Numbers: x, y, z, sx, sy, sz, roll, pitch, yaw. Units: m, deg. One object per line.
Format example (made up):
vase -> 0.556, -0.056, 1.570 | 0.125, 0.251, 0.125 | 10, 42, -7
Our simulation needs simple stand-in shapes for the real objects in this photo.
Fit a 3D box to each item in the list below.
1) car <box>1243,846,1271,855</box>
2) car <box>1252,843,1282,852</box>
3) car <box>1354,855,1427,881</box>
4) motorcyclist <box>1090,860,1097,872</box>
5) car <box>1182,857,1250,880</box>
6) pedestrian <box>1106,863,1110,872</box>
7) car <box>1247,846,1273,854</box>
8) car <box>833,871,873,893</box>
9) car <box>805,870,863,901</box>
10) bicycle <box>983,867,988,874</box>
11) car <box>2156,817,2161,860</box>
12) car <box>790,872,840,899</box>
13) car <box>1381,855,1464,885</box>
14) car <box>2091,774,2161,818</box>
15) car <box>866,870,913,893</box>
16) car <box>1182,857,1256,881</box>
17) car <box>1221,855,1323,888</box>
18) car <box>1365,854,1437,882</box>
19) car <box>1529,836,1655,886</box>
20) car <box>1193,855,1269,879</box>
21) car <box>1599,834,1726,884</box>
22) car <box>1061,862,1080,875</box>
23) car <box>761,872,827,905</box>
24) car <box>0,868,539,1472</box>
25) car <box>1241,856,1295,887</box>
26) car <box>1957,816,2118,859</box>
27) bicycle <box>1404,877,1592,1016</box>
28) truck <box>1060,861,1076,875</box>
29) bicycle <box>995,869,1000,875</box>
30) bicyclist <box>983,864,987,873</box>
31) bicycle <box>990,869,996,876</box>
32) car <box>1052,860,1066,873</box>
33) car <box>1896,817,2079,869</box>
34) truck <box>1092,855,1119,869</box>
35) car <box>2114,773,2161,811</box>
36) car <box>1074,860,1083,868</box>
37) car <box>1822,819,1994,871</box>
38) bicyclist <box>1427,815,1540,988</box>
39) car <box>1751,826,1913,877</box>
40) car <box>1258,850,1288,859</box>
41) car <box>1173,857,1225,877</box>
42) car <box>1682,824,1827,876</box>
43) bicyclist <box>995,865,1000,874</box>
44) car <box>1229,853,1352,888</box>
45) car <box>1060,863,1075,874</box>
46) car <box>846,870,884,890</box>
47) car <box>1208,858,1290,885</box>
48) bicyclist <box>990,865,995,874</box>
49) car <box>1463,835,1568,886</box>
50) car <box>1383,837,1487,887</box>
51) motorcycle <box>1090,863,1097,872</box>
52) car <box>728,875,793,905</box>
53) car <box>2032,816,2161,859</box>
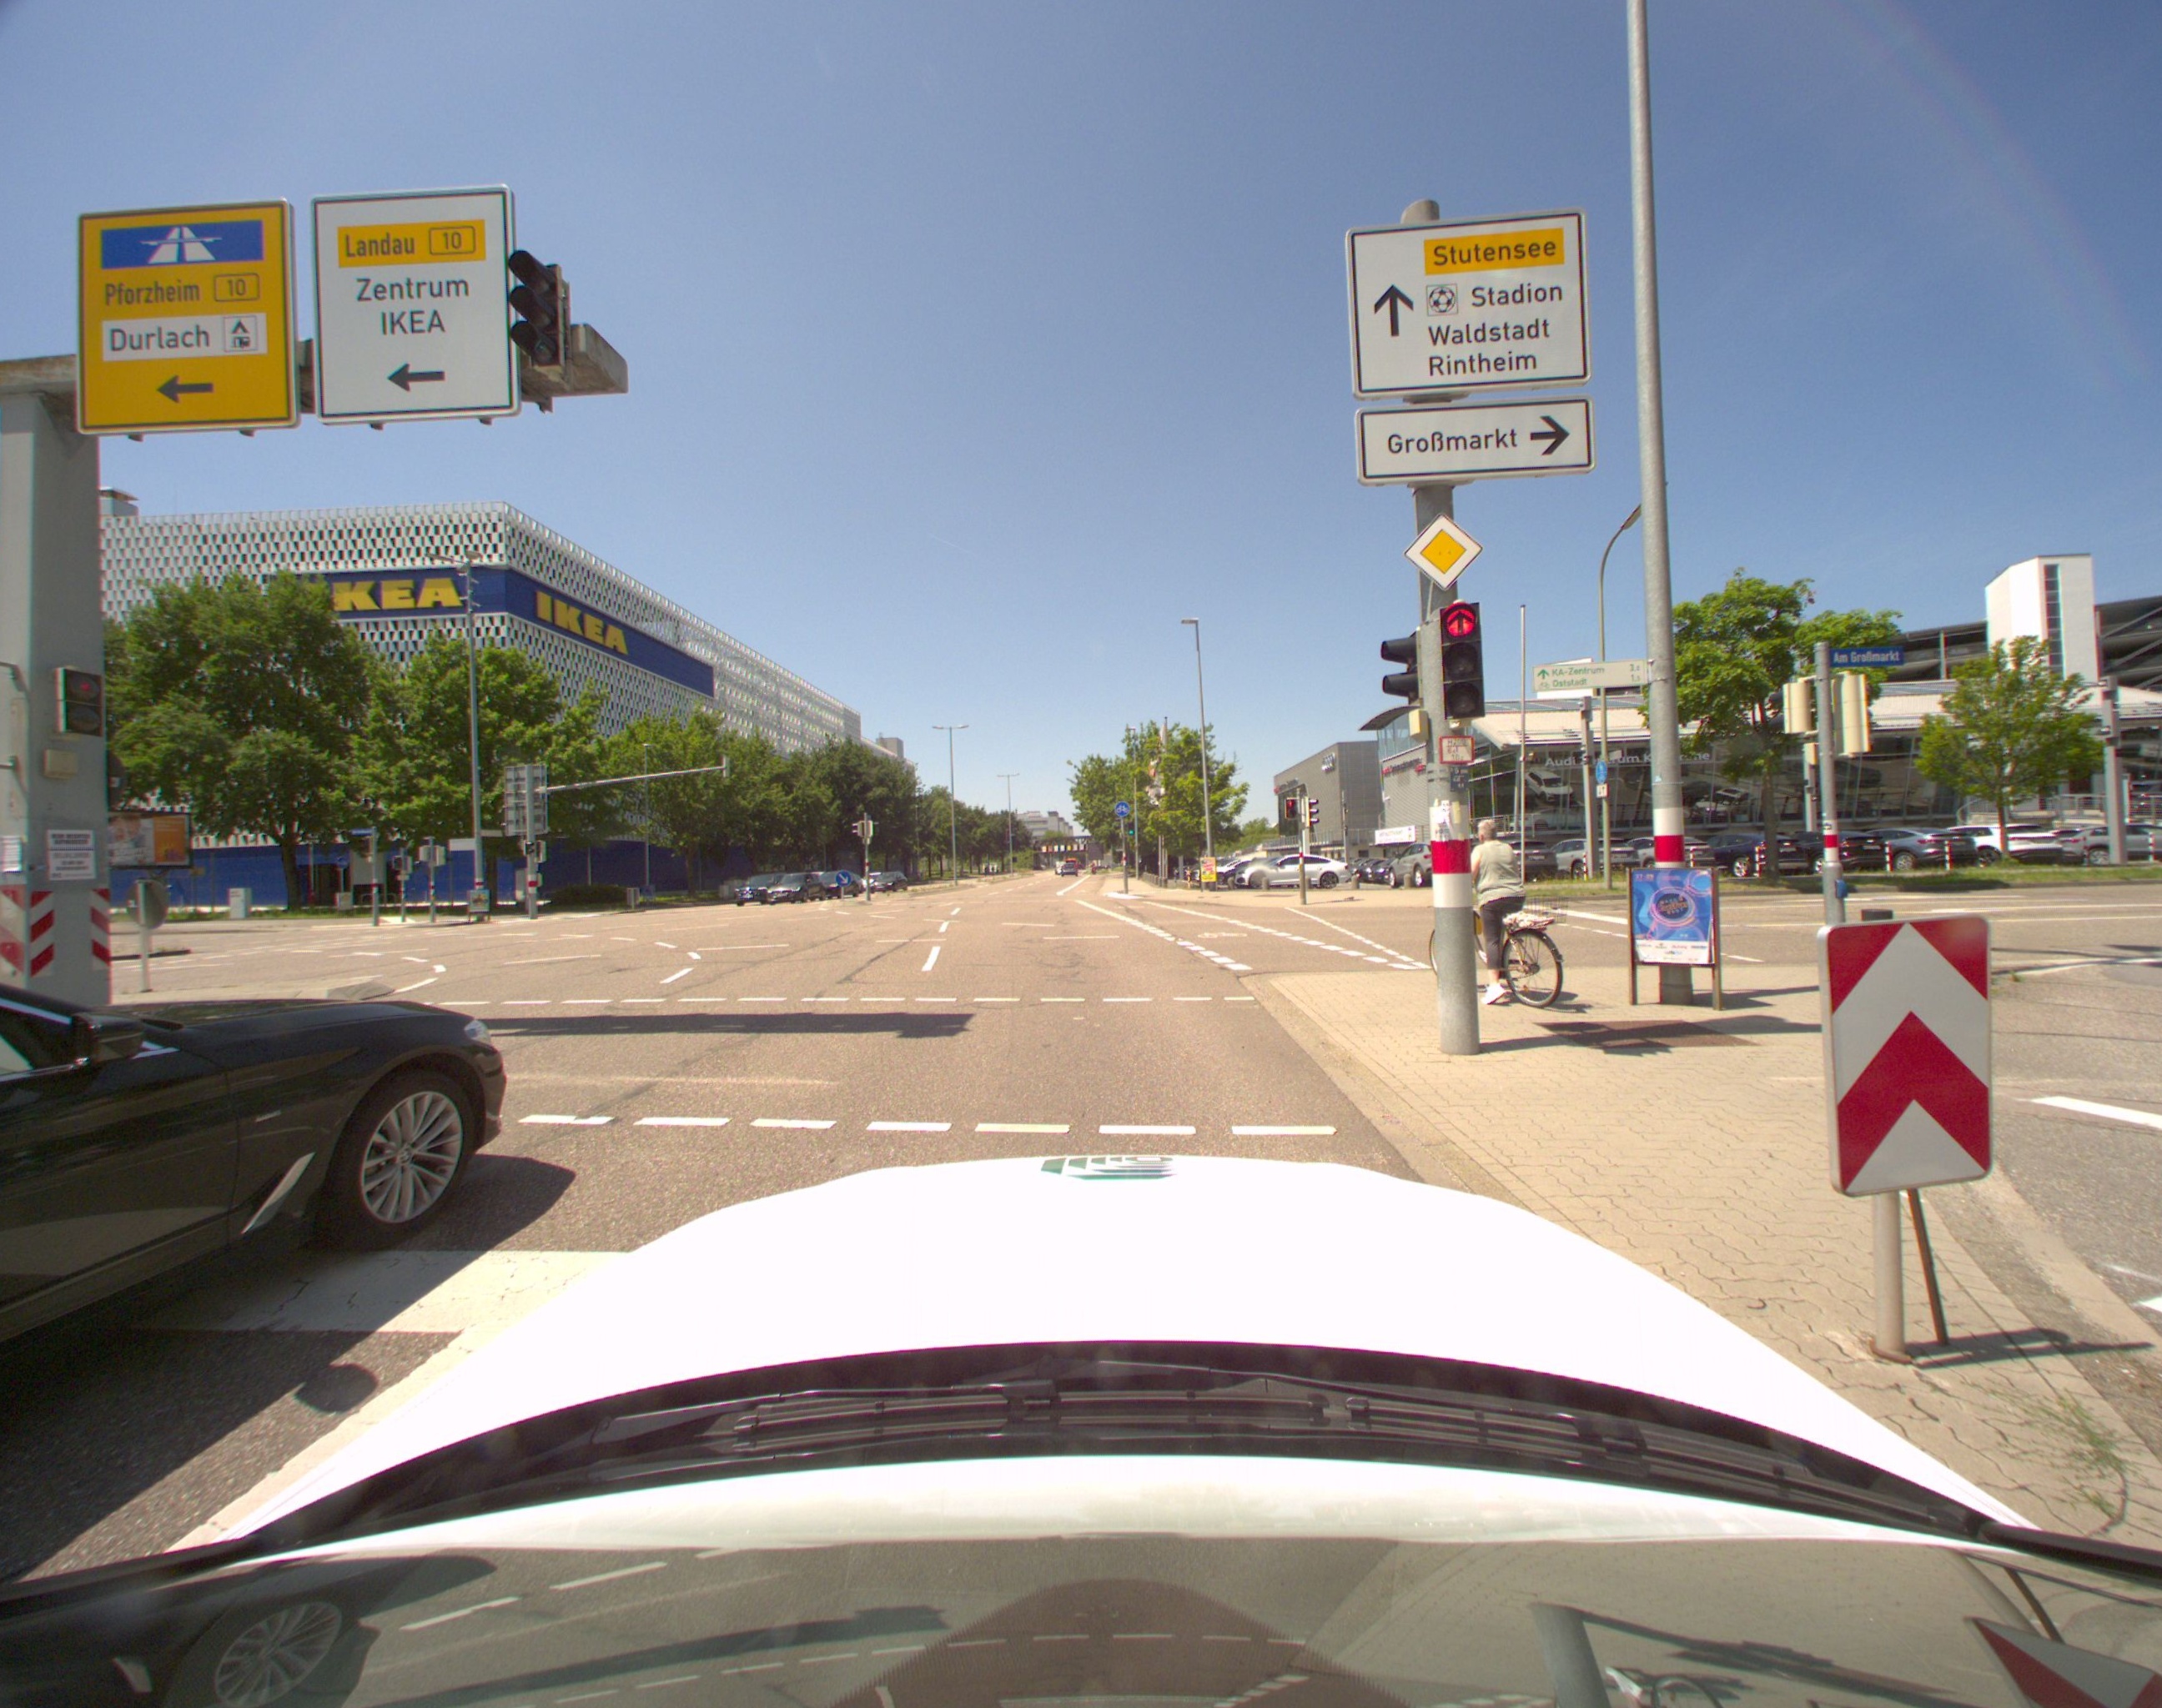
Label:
car -> 27.784, -0.516, 128.876 | 3.977, 1.312, 1.795 | 0, -1, -3
car -> 27.429, -0.884, 120.095 | 3.930, 1.211, 1.715 | -1, -1, -3
car -> 19.292, 0.853, 50.920 | 3.967, 1.573, 1.634 | 0, -1, 1
motorcyclist -> 1.629, 1.512, 106.145 | 0.719, 1.529, 0.868 | 0, -1, -8
car -> 8.605, 0.917, 52.162 | 4.085, 1.405, 1.869 | 0, -1, 1
pedestrian -> 4.681, 2.343, 141.036 | 0.621, 1.374, 0.564 | -2, -1, 0
car -> 27.413, -0.605, 124.635 | 3.515, 1.239, 1.675 | 0, -1, -3
car -> -16.500, 1.996, 59.098 | 1.643, 1.486, 3.916 | -3, -1, 2
car -> -13.726, 1.720, 45.499 | 1.720, 1.505, 4.245 | -4, -1, 2
bicycle -> -17.072, 2.897, 145.054 | 0.635, 1.134, 1.970 | -2, -1, 0
car -> 39.560, -0.642, 26.875 | 4.558, 1.471, 1.861 | -3, 0, 26
car -> -16.673, 1.935, 51.188 | 1.720, 1.544, 3.916 | -3, -1, 2
car -> 19.049, 0.875, 45.514 | 3.970, 1.622, 1.657 | 0, -1, 1
car -> 45.729, -2.483, 33.971 | 4.552, 1.707, 1.916 | -2, -1, 4
car -> -13.298, 1.879, 56.783 | 1.718, 1.446, 4.725 | -4, -1, 4
car -> 8.296, 0.890, 49.325 | 4.210, 1.390, 1.869 | 0, -1, 1
car -> 8.304, 0.746, 35.649 | 4.081, 1.390, 1.869 | 0, -1, 1
car -> 19.054, 0.830, 48.594 | 3.634, 1.580, 1.643 | 0, -1, 1
car -> 17.883, 0.255, 28.759 | 1.840, 1.654, 3.994 | 0, -1, -2
car -> 8.502, 0.737, 46.395 | 4.084, 1.349, 1.869 | 0, -1, 1
car -> 20.214, 0.138, 28.517 | 1.632, 1.616, 3.815 | -1, 1, -2
car -> -1.119, 1.586, 89.814 | 1.894, 1.376, 4.232 | -2, -1, 1
car -> -13.781, 1.643, 39.268 | 1.637, 1.389, 3.717 | -4, -1, 2
car -> -3.534, 0.795, 1.615 | 1.791, 1.440, 4.557 | -2, 0, 1
car -> 9.042, 0.822, 39.710 | 1.855, 1.420, 4.667 | 0, -1, 4
car -> 39.845, -0.677, 34.072 | 3.947, 1.571, 1.862 | -3, -1, 31
bicycle -> 3.968, 0.821, 7.953 | 0.628, 1.133, 1.889 | -1, 0, -9
truck -> -2.324, 2.488, 146.690 | 2.449, 2.410, 7.136 | 0, 0, 2
bicycle -> -16.191, 3.475, 158.534 | 0.627, 1.159, 2.118 | -4, -1, 1
bicyclist -> -17.102, 2.607, 145.005 | 0.635, 1.582, 0.884 | -2, -1, 0
bicycle -> -15.989, 3.338, 147.681 | 0.737, 1.125, 2.434 | -2, -1, 0
car -> -3.468, 1.949, 128.937 | 1.986, 2.014, 4.000 | 0, -1, 1
car -> 31.197, -0.325, 28.218 | 1.840, 1.654, 3.994 | 0, -1, -2
truck -> 5.180, 1.672, 170.912 | 2.591, 2.850, 5.647 | -1, -1, 45
car -> 53.714, -3.126, 39.467 | 1.905, 1.722, 4.142 | -2, 0, -5
car -> -0.605, 2.602, 218.697 | 1.984, 2.013, 4.005 | -3, -1, 5
car -> 28.495, -0.258, 28.259 | 1.840, 1.654, 3.994 | 0, -1, -2
bicyclist -> 3.944, 0.443, 8.026 | 0.628, 1.606, 0.823 | 0, -1, -9
car -> 25.770, -0.051, 28.155 | 1.840, 1.654, 3.994 | 0, -1, -2
car -> 27.163, 0.088, 115.207 | 3.716, 1.130, 1.682 | 0, -1, -3
car -> 8.716, 0.985, 60.223 | 3.668, 1.453, 1.834 | 0, -1, 1
car -> 23.098, -0.107, 28.137 | 1.624, 1.654, 3.907 | -1, -1, -2
bicyclist -> -16.227, 2.979, 158.469 | 0.631, 1.629, 1.045 | -4, -1, 1
car -> 8.459, 0.653, 33.186 | 4.572, 1.390, 1.871 | 0, -1, 3
car -> -1.838, 2.000, 114.223 | 1.917, 1.420, 4.000 | -2, -1, 1
car -> -17.079, 2.039, 64.586 | 1.737, 1.486, 4.001 | -3, -1, 2
car -> 8.944, 0.926, 43.622 | 4.081, 1.364, 1.875 | 0, -1, 1
bicyclist -> -16.010, 2.789, 147.541 | 0.742, 1.686, 0.952 | -2, -1, 0
car -> 15.120, 0.237, 28.614 | 1.836, 1.654, 4.003 | 0, -1, 5
car -> 12.423, 0.329, 28.935 | 1.860, 1.558, 4.506 | -3, -2, 3
motorcycle -> 1.643, 1.735, 106.078 | 0.716, 1.105, 1.825 | -1, -1, -8
car -> -16.815, 1.875, 42.934 | 1.654, 1.424, 4.039 | -3, -1, 2
car -> 39.607, -0.650, 30.655 | 4.531, 1.471, 1.925 | -3, -1, 26
